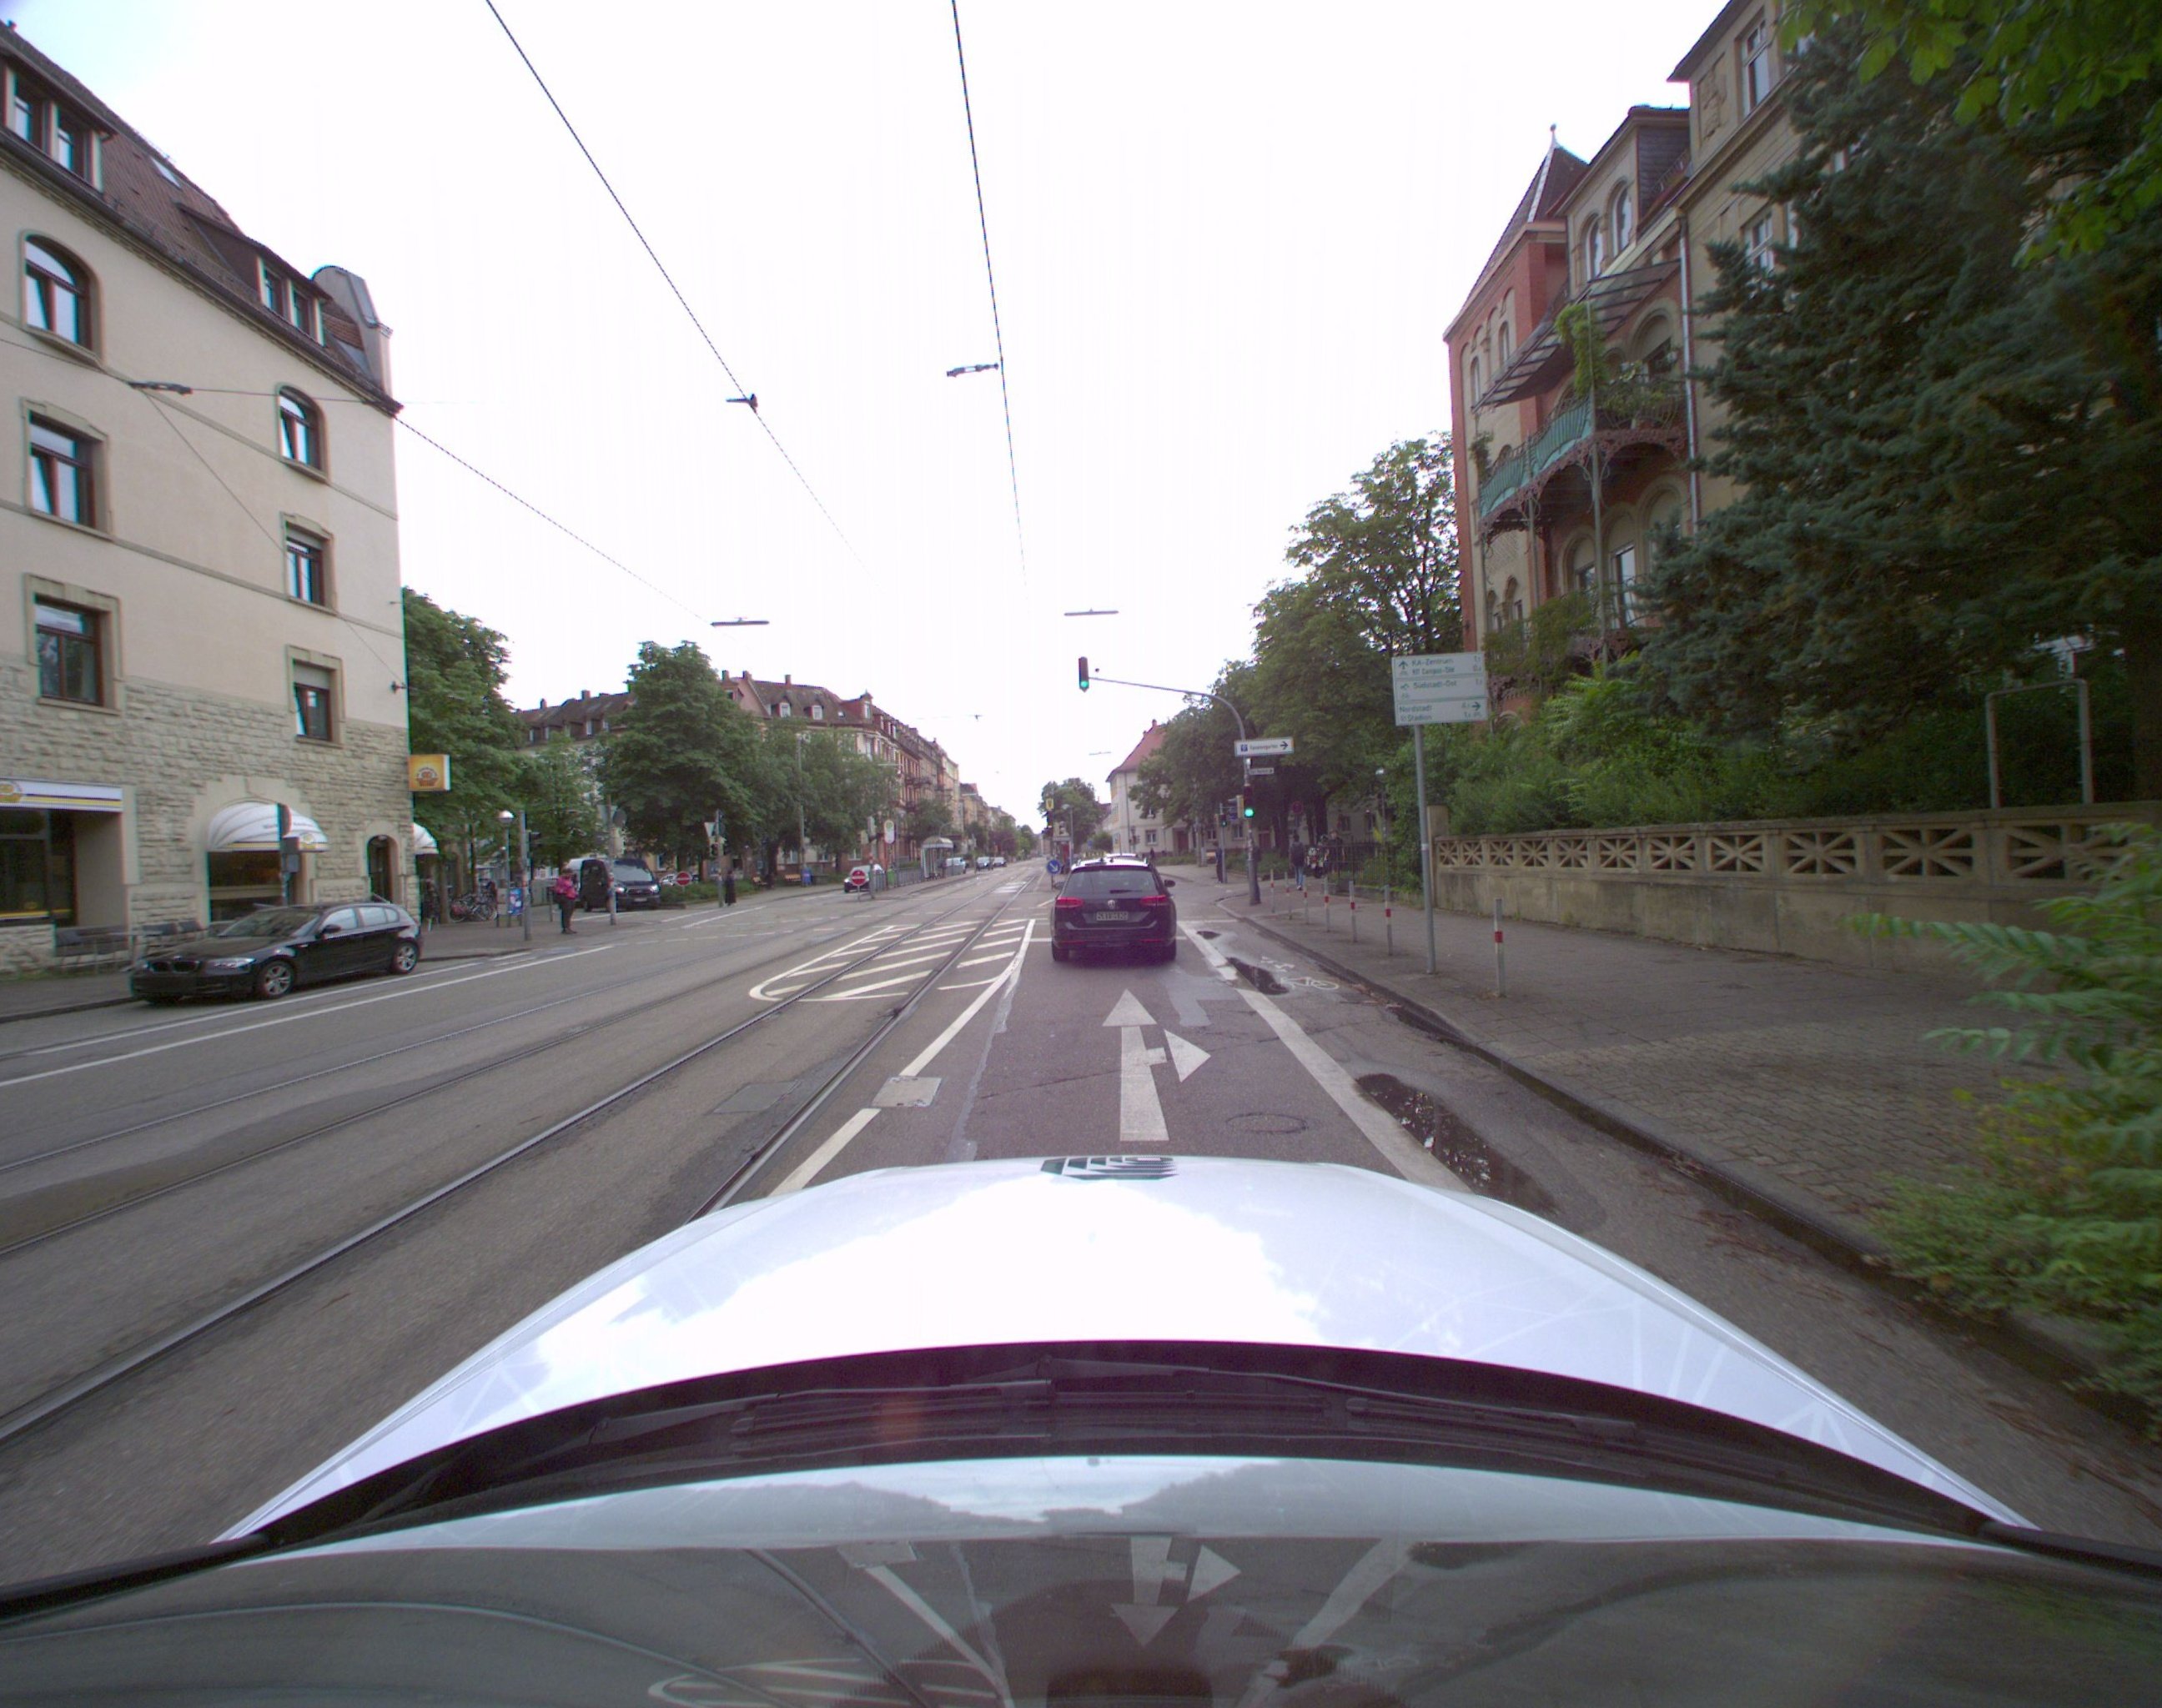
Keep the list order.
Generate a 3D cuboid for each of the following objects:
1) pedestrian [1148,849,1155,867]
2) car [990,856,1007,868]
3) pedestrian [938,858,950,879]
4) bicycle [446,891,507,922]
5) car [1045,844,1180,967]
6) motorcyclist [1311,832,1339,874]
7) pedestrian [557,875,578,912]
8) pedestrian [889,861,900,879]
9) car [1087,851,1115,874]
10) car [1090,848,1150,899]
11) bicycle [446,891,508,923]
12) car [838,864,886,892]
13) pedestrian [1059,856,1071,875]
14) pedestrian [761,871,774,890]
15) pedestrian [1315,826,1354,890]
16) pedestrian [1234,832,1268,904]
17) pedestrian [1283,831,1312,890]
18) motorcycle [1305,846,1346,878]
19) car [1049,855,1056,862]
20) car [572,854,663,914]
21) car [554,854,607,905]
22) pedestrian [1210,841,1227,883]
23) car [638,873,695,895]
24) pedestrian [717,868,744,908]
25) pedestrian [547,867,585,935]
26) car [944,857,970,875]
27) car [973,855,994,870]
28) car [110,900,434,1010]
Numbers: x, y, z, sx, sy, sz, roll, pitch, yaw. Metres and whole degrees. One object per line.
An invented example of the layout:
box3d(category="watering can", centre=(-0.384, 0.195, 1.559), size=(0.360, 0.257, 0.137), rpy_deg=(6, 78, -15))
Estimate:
box3d(category="pedestrian", centre=(6.268, 0.340, 72.499), size=(0.579, 1.553, 0.609), rpy_deg=(-3, 0, 1))
box3d(category="car", centre=(-11.519, 1.128, 114.365), size=(1.789, 1.596, 4.001), rpy_deg=(-3, 0, 1))
box3d(category="pedestrian", centre=(-10.078, 1.040, 59.866), size=(0.712, 1.520, 0.589), rpy_deg=(-3, 0, 0))
box3d(category="bicycle", centre=(-23.450, 2.021, 31.624), size=(0.354, 1.076, 1.826), rpy_deg=(-3, 0, 42))
box3d(category="car", centre=(0.368, 0.682, 12.749), size=(1.719, 1.546, 3.997), rpy_deg=(-3, 0, -2))
box3d(category="motorcyclist", centre=(10.274, -0.046, 34.320), size=(0.807, 1.692, 0.698), rpy_deg=(-3, 0, -33))
box3d(category="pedestrian", centre=(-25.059, 1.916, 39.738), size=(0.704, 1.715, 0.545), rpy_deg=(-3, 0, -42))
box3d(category="pedestrian", centre=(-16.881, 1.440, 73.578), size=(0.582, 1.520, 0.653), rpy_deg=(-3, 0, 34))
box3d(category="car", centre=(1.397, 0.583, 57.657), size=(1.719, 1.546, 3.997), rpy_deg=(-3, 0, -2))
box3d(category="car", centre=(1.270, 0.630, 28.218), size=(1.719, 1.546, 3.997), rpy_deg=(-3, 0, -2))
box3d(category="bicycle", centre=(-23.032, 2.000, 31.092), size=(0.354, 1.076, 1.826), rpy_deg=(-3, 0, 42))
box3d(category="car", centre=(-12.355, 1.331, 46.170), size=(1.682, 1.382, 3.855), rpy_deg=(-3, 0, -1))
box3d(category="pedestrian", centre=(-1.105, 0.780, 56.130), size=(0.821, 1.304, 0.568), rpy_deg=(-3, 0, -3))
box3d(category="pedestrian", centre=(-19.932, 1.705, 51.725), size=(0.592, 1.168, 0.836), rpy_deg=(-3, 0, -31))
box3d(category="pedestrian", centre=(7.547, 0.118, 24.216), size=(0.656, 1.831, 0.790), rpy_deg=(-3, 0, -43))
box3d(category="pedestrian", centre=(4.482, 0.357, 21.540), size=(0.583, 1.830, 0.604), rpy_deg=(-6, 0, -1))
box3d(category="pedestrian", centre=(6.894, 0.211, 25.933), size=(0.630, 1.815, 0.726), rpy_deg=(-3, 0, 1))
box3d(category="motorcycle", centre=(10.316, 0.331, 34.348), size=(1.914, 1.235, 0.443), rpy_deg=(-3, 0, -33))
box3d(category="car", centre=(-8.951, 1.316, 252.182), size=(2.027, 2.014, 3.997), rpy_deg=(-2, -1, -2))
box3d(category="car", centre=(-20.895, 1.360, 36.607), size=(2.199, 2.417, 5.313), rpy_deg=(-3, 0, -44))
box3d(category="car", centre=(-27.360, 1.373, 44.404), size=(2.195, 2.527, 5.323), rpy_deg=(-3, 0, -34))
box3d(category="pedestrian", centre=(6.177, 0.374, 36.525), size=(0.513, 1.830, 0.418), rpy_deg=(-6, 0, -1))
box3d(category="car", centre=(-35.074, 2.546, 68.932), size=(3.833, 1.622, 1.729), rpy_deg=(-3, 0, 4))
box3d(category="pedestrian", centre=(-15.334, 1.487, 35.676), size=(0.834, 1.663, 0.591), rpy_deg=(-3, 0, 0))
box3d(category="pedestrian", centre=(-14.430, 1.315, 22.825), size=(0.622, 1.842, 0.609), rpy_deg=(-3, 0, -4))
box3d(category="car", centre=(-12.294, 1.184, 81.025), size=(1.789, 1.596, 4.001), rpy_deg=(-3, 0, 1))
box3d(category="car", centre=(-11.476, 0.955, 95.747), size=(1.789, 1.596, 4.001), rpy_deg=(-3, 0, 1))
box3d(category="car", centre=(-13.528, 1.602, 14.045), size=(1.645, 1.361, 4.124), rpy_deg=(-1, 0, -4))
